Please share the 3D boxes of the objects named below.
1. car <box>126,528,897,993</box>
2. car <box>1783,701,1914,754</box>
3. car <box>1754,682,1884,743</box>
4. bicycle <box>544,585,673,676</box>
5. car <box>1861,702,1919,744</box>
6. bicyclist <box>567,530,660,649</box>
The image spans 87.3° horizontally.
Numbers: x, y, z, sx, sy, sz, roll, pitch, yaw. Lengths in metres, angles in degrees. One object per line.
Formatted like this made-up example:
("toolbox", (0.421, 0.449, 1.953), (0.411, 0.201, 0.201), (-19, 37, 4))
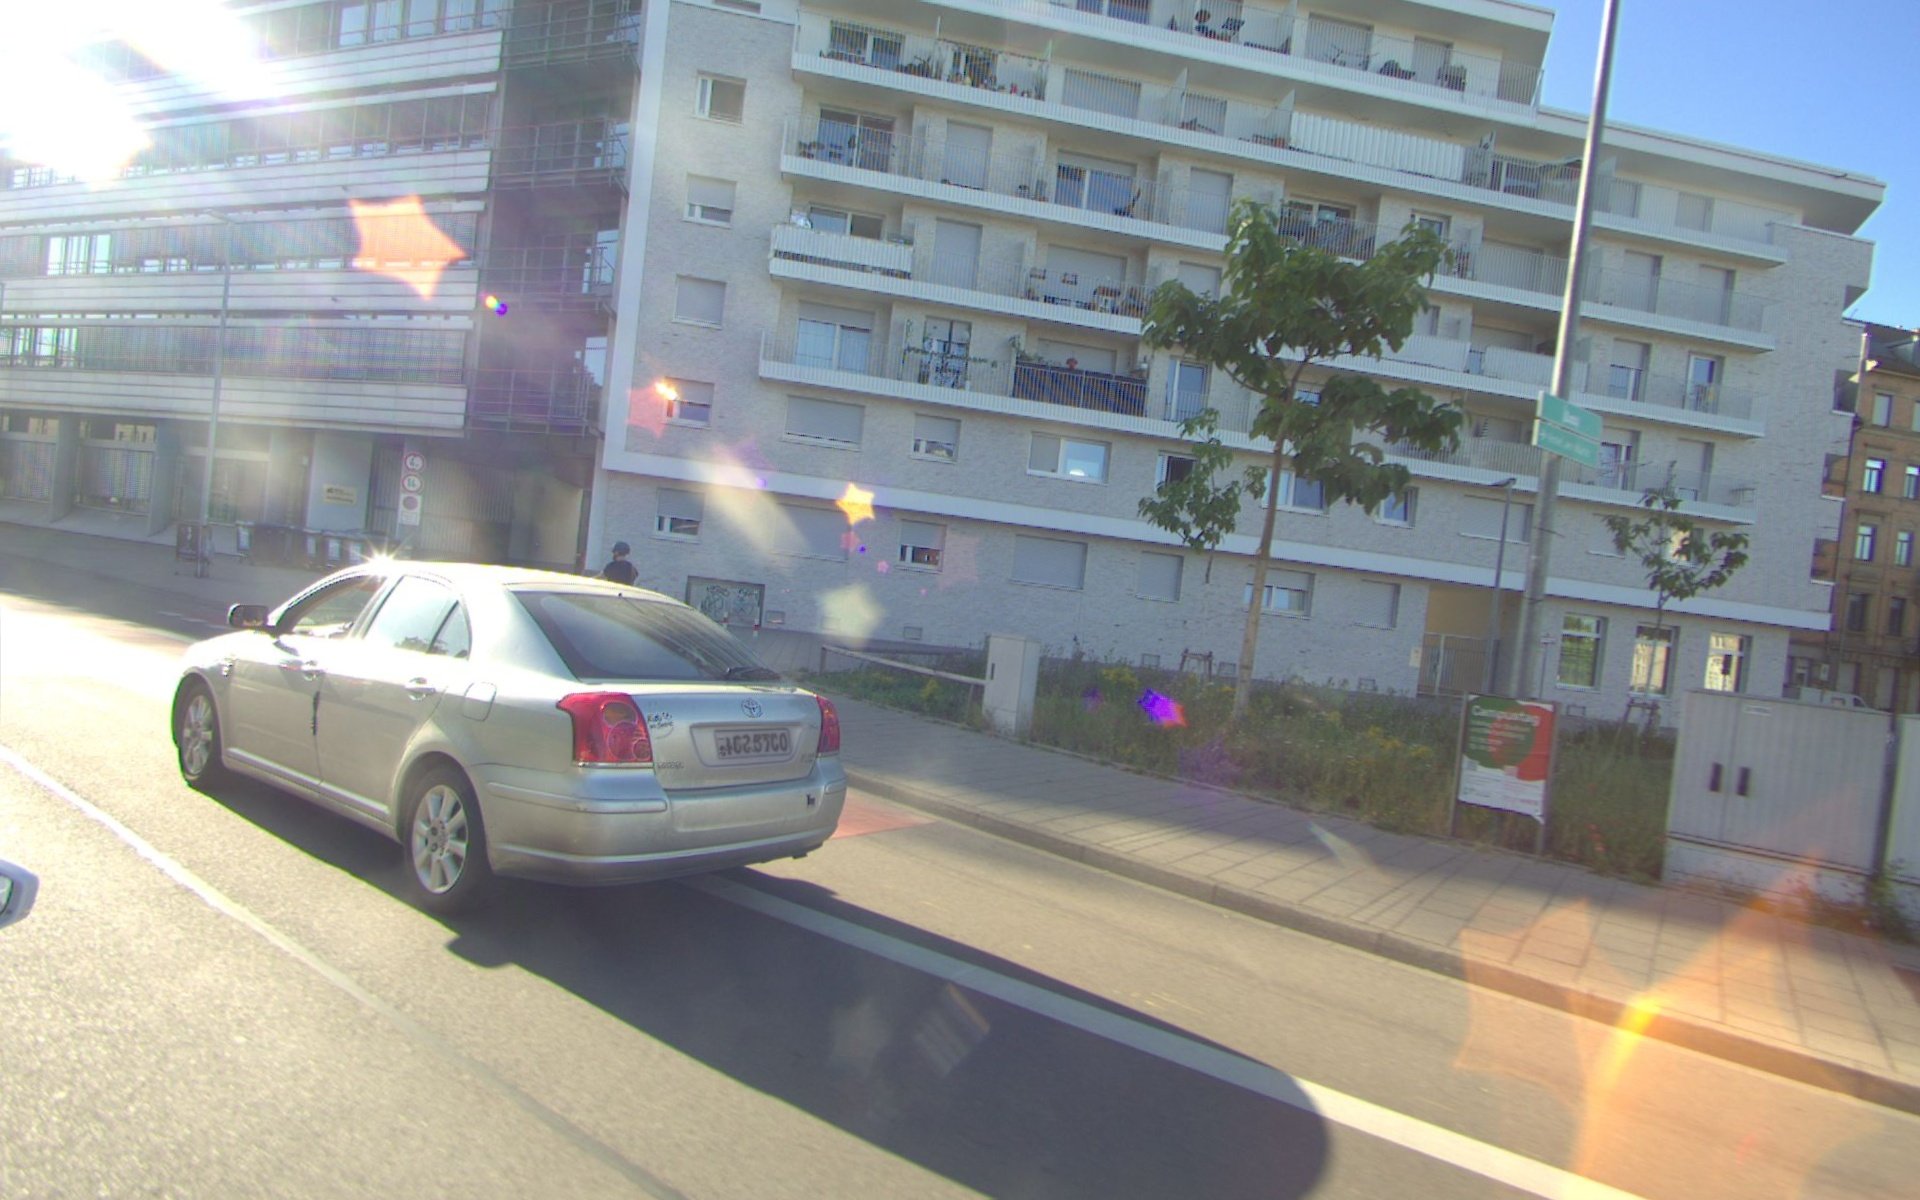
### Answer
("car", (-2.692, 0.551, 5.596), (4.416, 1.449, 1.751), (7, 1, 34))
("car", (33.619, 4.789, 38.226), (1.962, 1.415, 4.001), (7, 0, 14))
("car", (40.811, 5.323, 47.837), (4.513, 2.239, 1.997), (7, 1, -6))
("bicycle", (-5.062, 0.415, 14.403), (2.171, 1.045, 0.498), (7, 1, 36))
("car", (48.181, 6.314, 50.284), (1.966, 1.738, 4.255), (6, 0, -9))
("bicyclist", (-4.970, -0.154, 14.422), (1.027, 1.586, 0.624), (7, 1, 34))
